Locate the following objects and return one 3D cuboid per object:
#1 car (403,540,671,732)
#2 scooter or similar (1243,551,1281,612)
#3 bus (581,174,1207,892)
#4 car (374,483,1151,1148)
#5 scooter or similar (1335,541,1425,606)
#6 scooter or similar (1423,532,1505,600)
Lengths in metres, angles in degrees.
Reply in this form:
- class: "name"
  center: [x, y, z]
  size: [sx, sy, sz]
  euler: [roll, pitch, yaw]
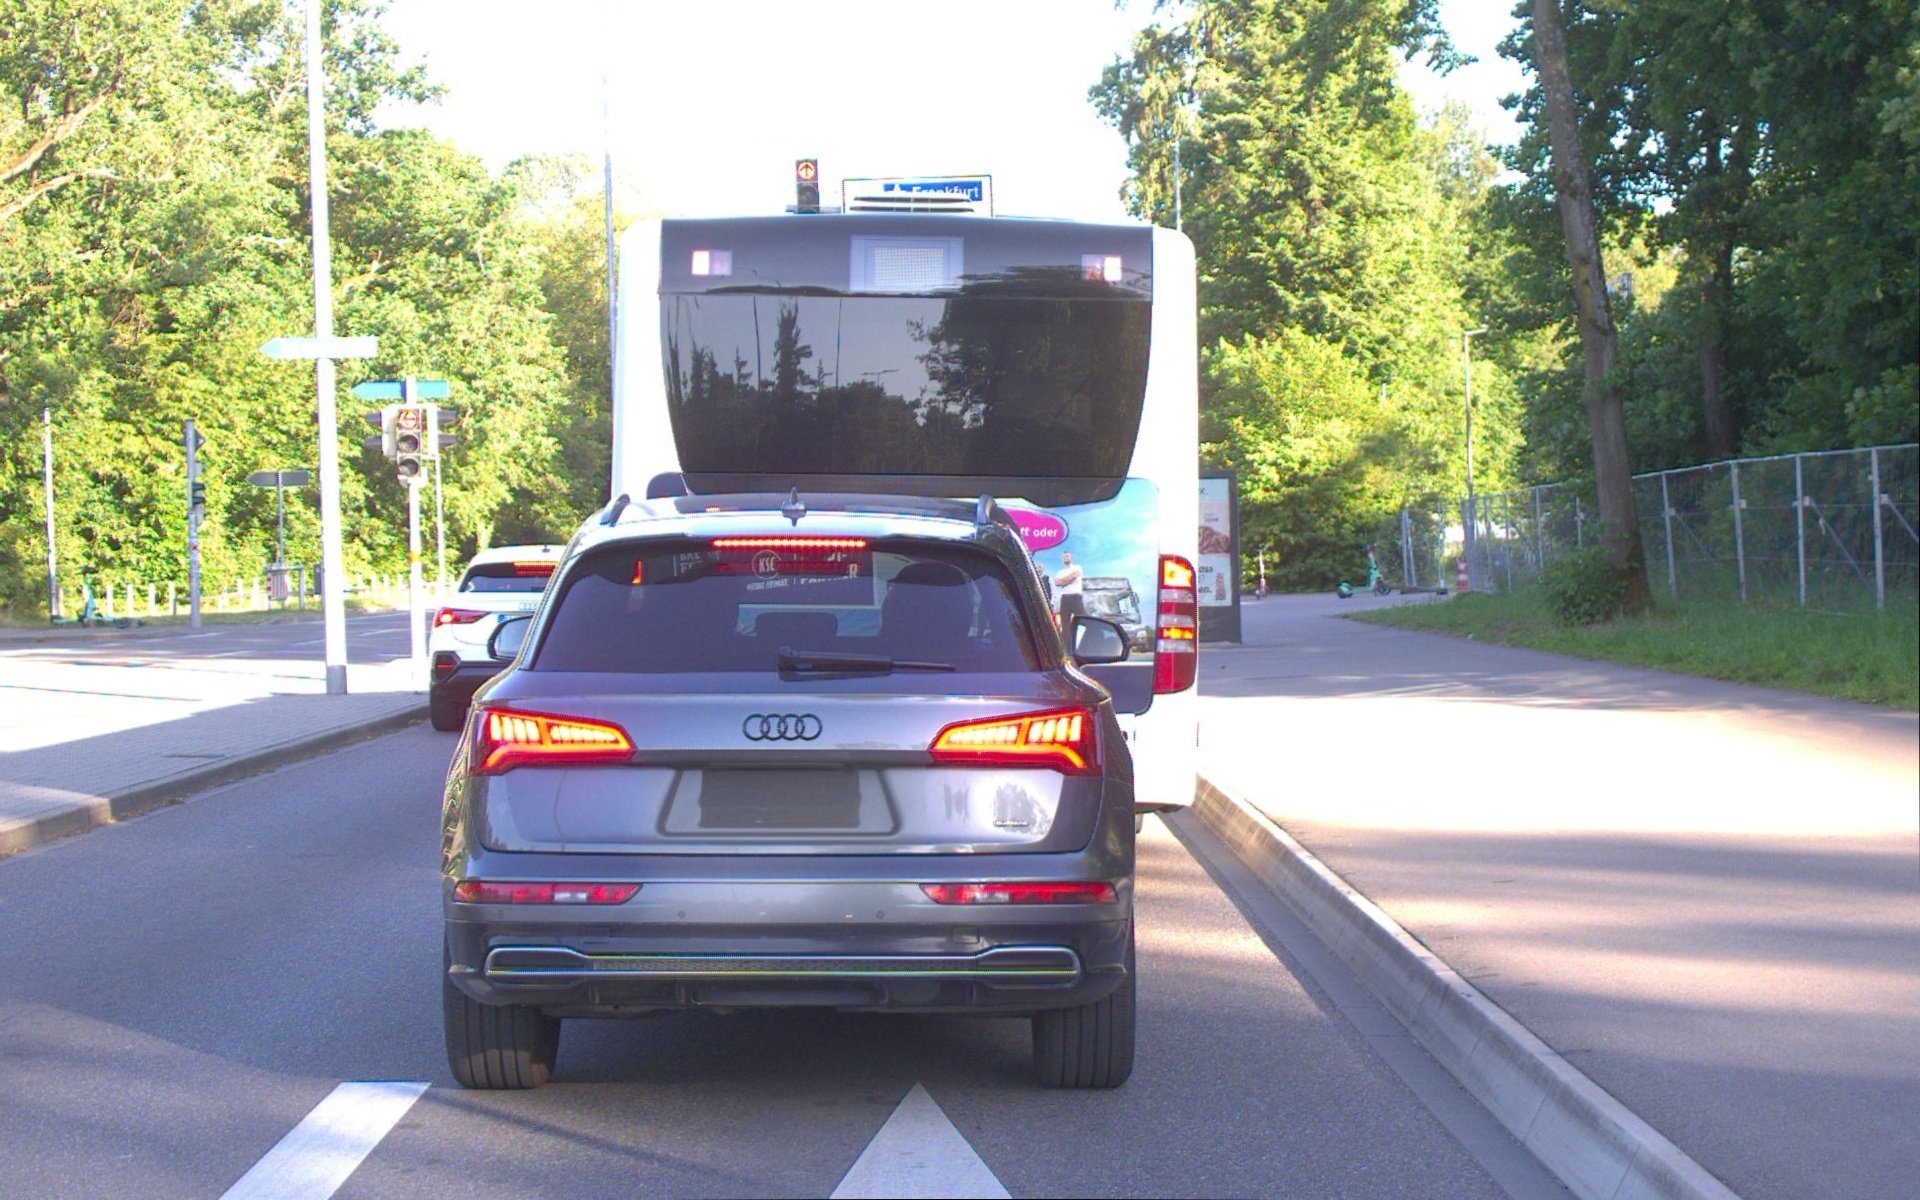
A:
- class: "car"
  center: [-3.565, 0.255, 29.596]
  size: [1.836, 1.513, 4.000]
  euler: [-1, 1, -1]
- class: "scooter or similar"
  center: [7.269, -0.458, 82.769]
  size: [0.508, 1.439, 2.023]
  euler: [-2, 1, -6]
- class: "bus"
  center: [-0.329, -0.311, 18.940]
  size: [2.594, 2.979, 9.327]
  euler: [0, 0, -1]
- class: "car"
  center: [-0.509, 0.497, 10.449]
  size: [1.898, 1.626, 4.000]
  euler: [0, 1, -1]
- class: "scooter or similar"
  center: [9.790, -0.611, 80.125]
  size: [2.015, 1.439, 0.606]
  euler: [-2, 1, -25]
- class: "scooter or similar"
  center: [11.931, -0.799, 81.415]
  size: [0.539, 1.562, 2.021]
  euler: [-3, 1, -40]
